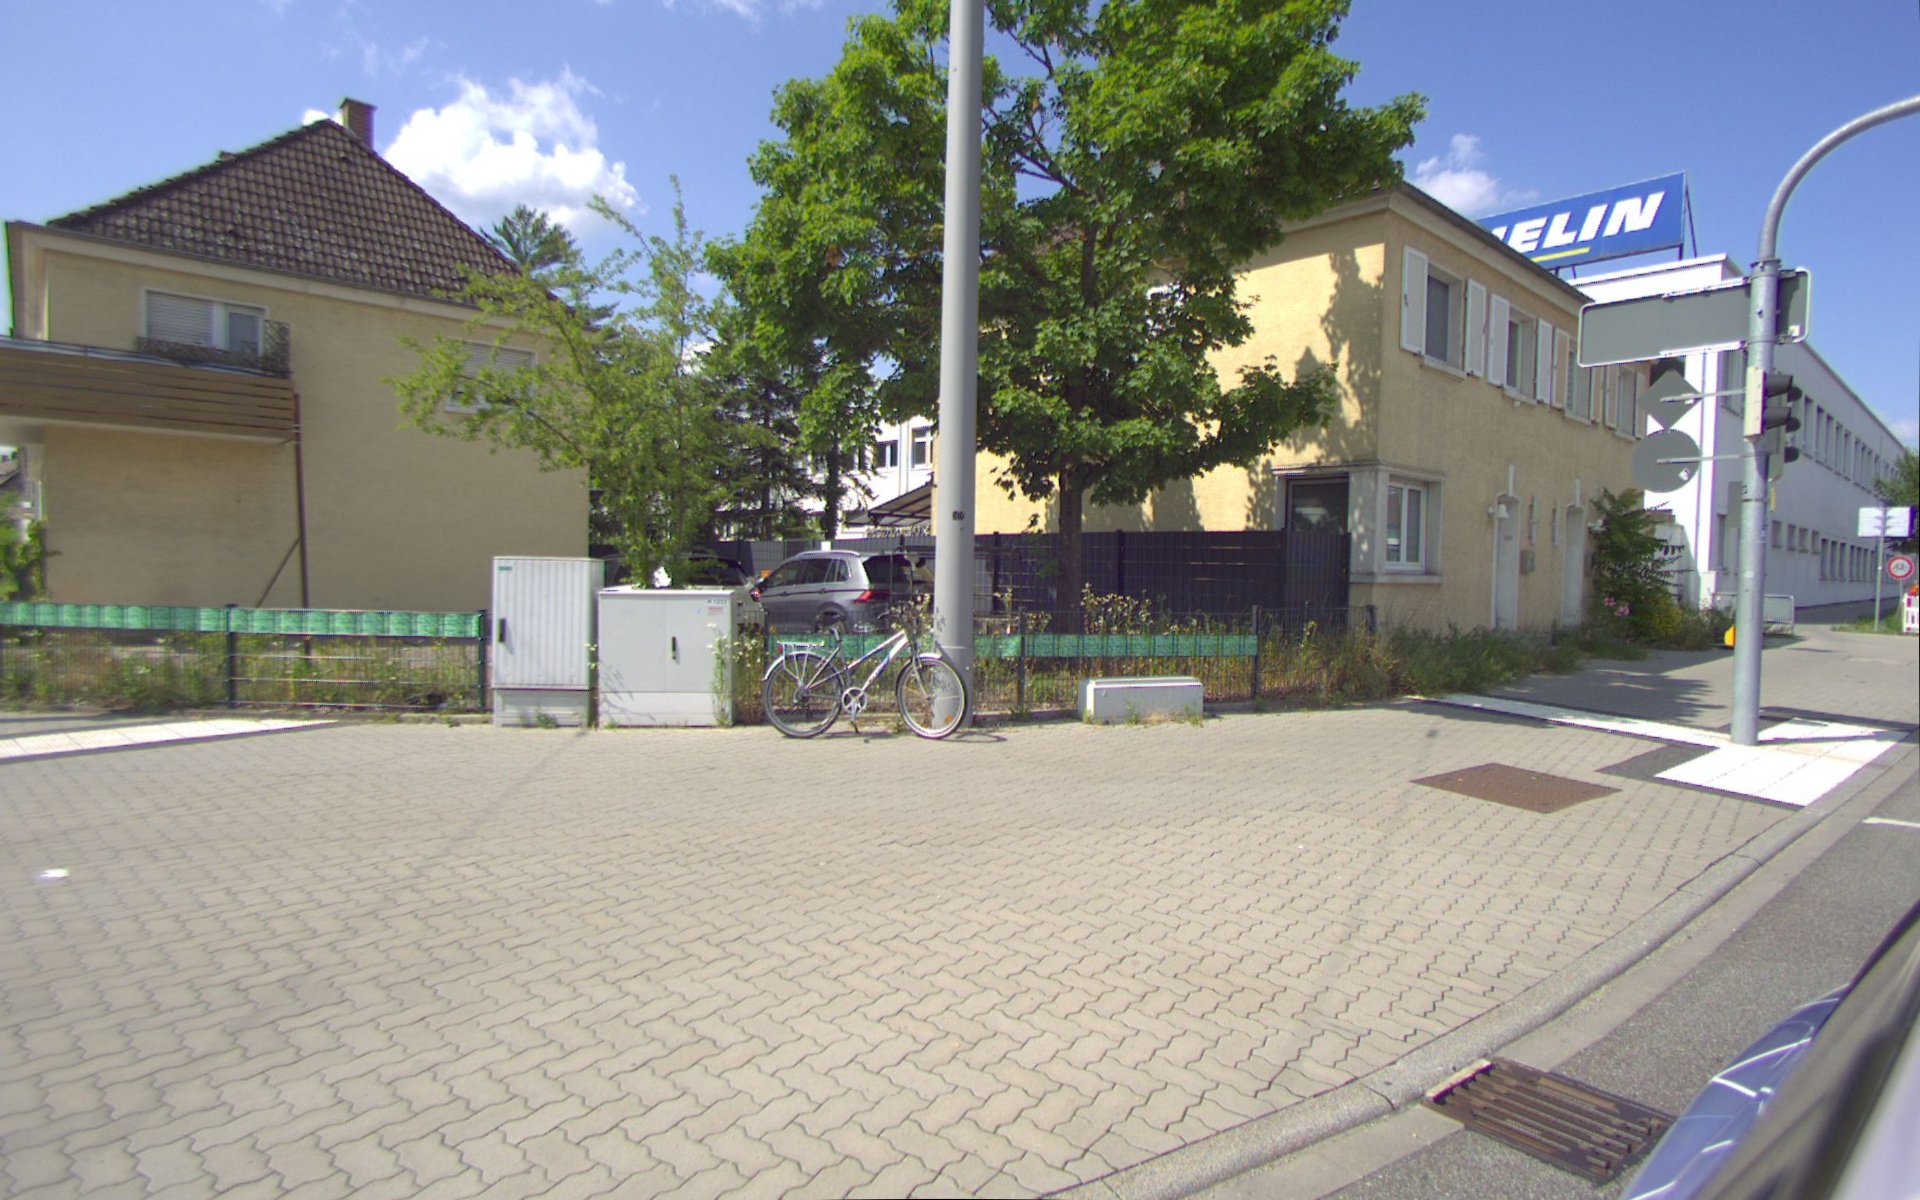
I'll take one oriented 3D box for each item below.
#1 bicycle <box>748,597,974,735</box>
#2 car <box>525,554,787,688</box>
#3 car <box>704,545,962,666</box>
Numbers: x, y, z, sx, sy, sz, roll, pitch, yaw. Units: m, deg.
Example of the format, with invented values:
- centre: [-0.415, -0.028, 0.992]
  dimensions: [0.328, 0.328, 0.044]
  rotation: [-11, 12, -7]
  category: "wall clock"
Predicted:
- centre: [-0.760, 0.505, 8.007]
  dimensions: [1.722, 1.031, 0.463]
  rotation: [-1, 1, 0]
  category: "bicycle"
- centre: [-4.379, 0.186, 14.242]
  dimensions: [4.106, 1.616, 1.772]
  rotation: [2, 2, 44]
  category: "car"
- centre: [-2.051, 0.003, 15.521]
  dimensions: [4.106, 1.616, 1.772]
  rotation: [2, 2, 44]
  category: "car"
